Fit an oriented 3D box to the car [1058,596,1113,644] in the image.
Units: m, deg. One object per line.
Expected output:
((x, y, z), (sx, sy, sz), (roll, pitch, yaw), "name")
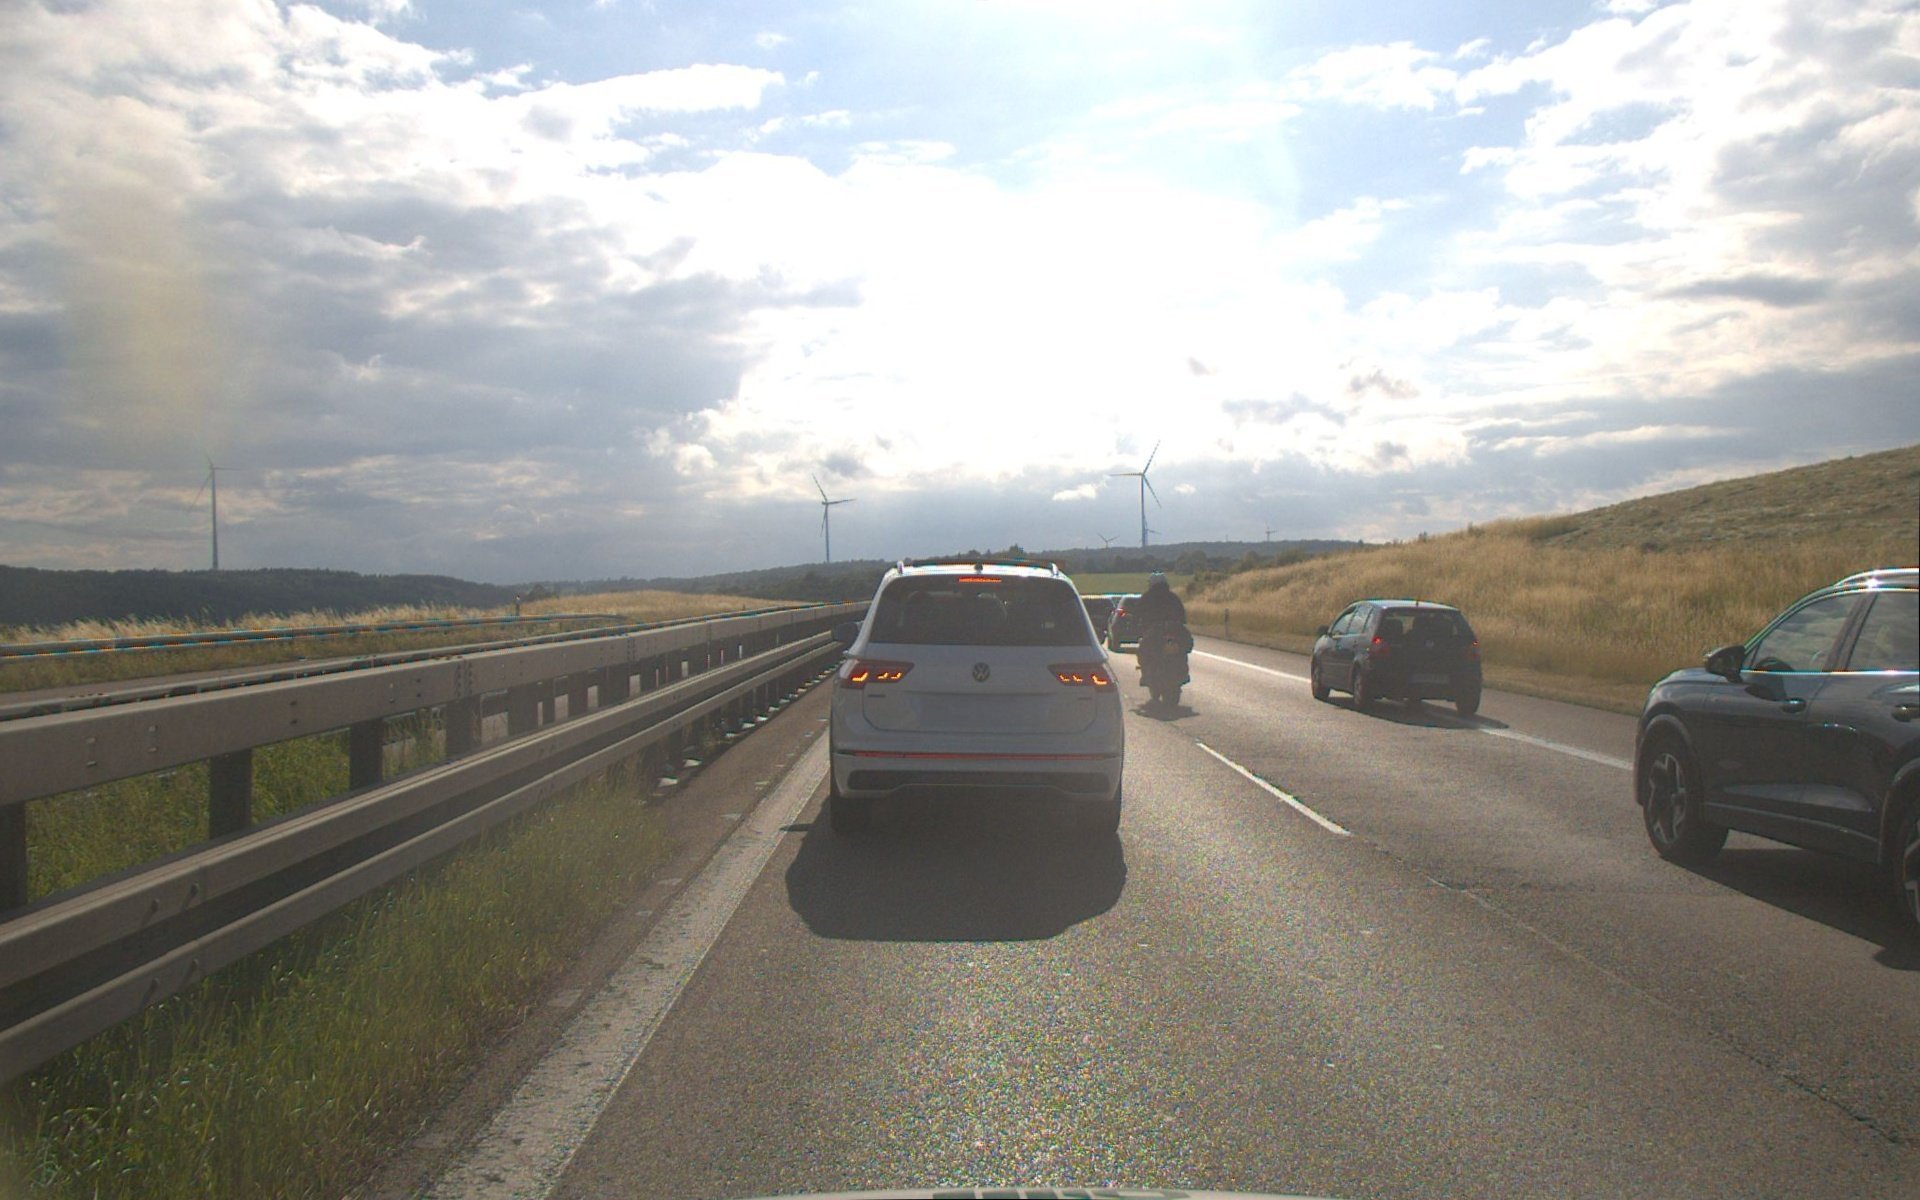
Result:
((4.574, 0.713, 60.542), (1.669, 1.679, 3.999), (0, 0, -1), "car")

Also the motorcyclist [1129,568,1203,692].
((2.702, 0.386, 21.807), (0.832, 1.587, 0.934), (0, 0, -1), "motorcyclist")

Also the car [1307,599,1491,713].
((5.989, 0.714, 22.943), (1.573, 1.445, 3.672), (0, 0, 0), "car")

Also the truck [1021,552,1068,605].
((6.080, -1.573, 120.581), (3.118, 3.656, 11.132), (0, 1, 1), "truck")

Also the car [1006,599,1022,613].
((6.437, 0.713, 197.671), (1.669, 1.573, 3.999), (0, 0, -1), "car")

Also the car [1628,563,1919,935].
((5.103, 0.683, 8.176), (1.784, 1.629, 4.234), (2, 0, -1), "car")

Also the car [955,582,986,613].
((0.585, -0.137, 92.786), (1.669, 1.679, 3.999), (0, 0, -1), "car")

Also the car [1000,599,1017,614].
((5.196, 0.683, 177.224), (1.669, 1.573, 3.999), (0, 0, -1), "car")

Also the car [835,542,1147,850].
((0.155, 0.539, 11.243), (1.734, 1.705, 3.999), (0, 0, -1), "car")

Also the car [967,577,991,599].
((1.385, -0.871, 122.786), (1.669, 1.573, 3.999), (0, 0, -1), "car")

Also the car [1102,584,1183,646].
((4.844, 0.376, 44.278), (1.669, 1.573, 3.999), (0, 0, -1), "car")

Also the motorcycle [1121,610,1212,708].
((2.697, 0.745, 21.851), (0.877, 1.211, 2.256), (0, 0, -1), "motorcycle")
